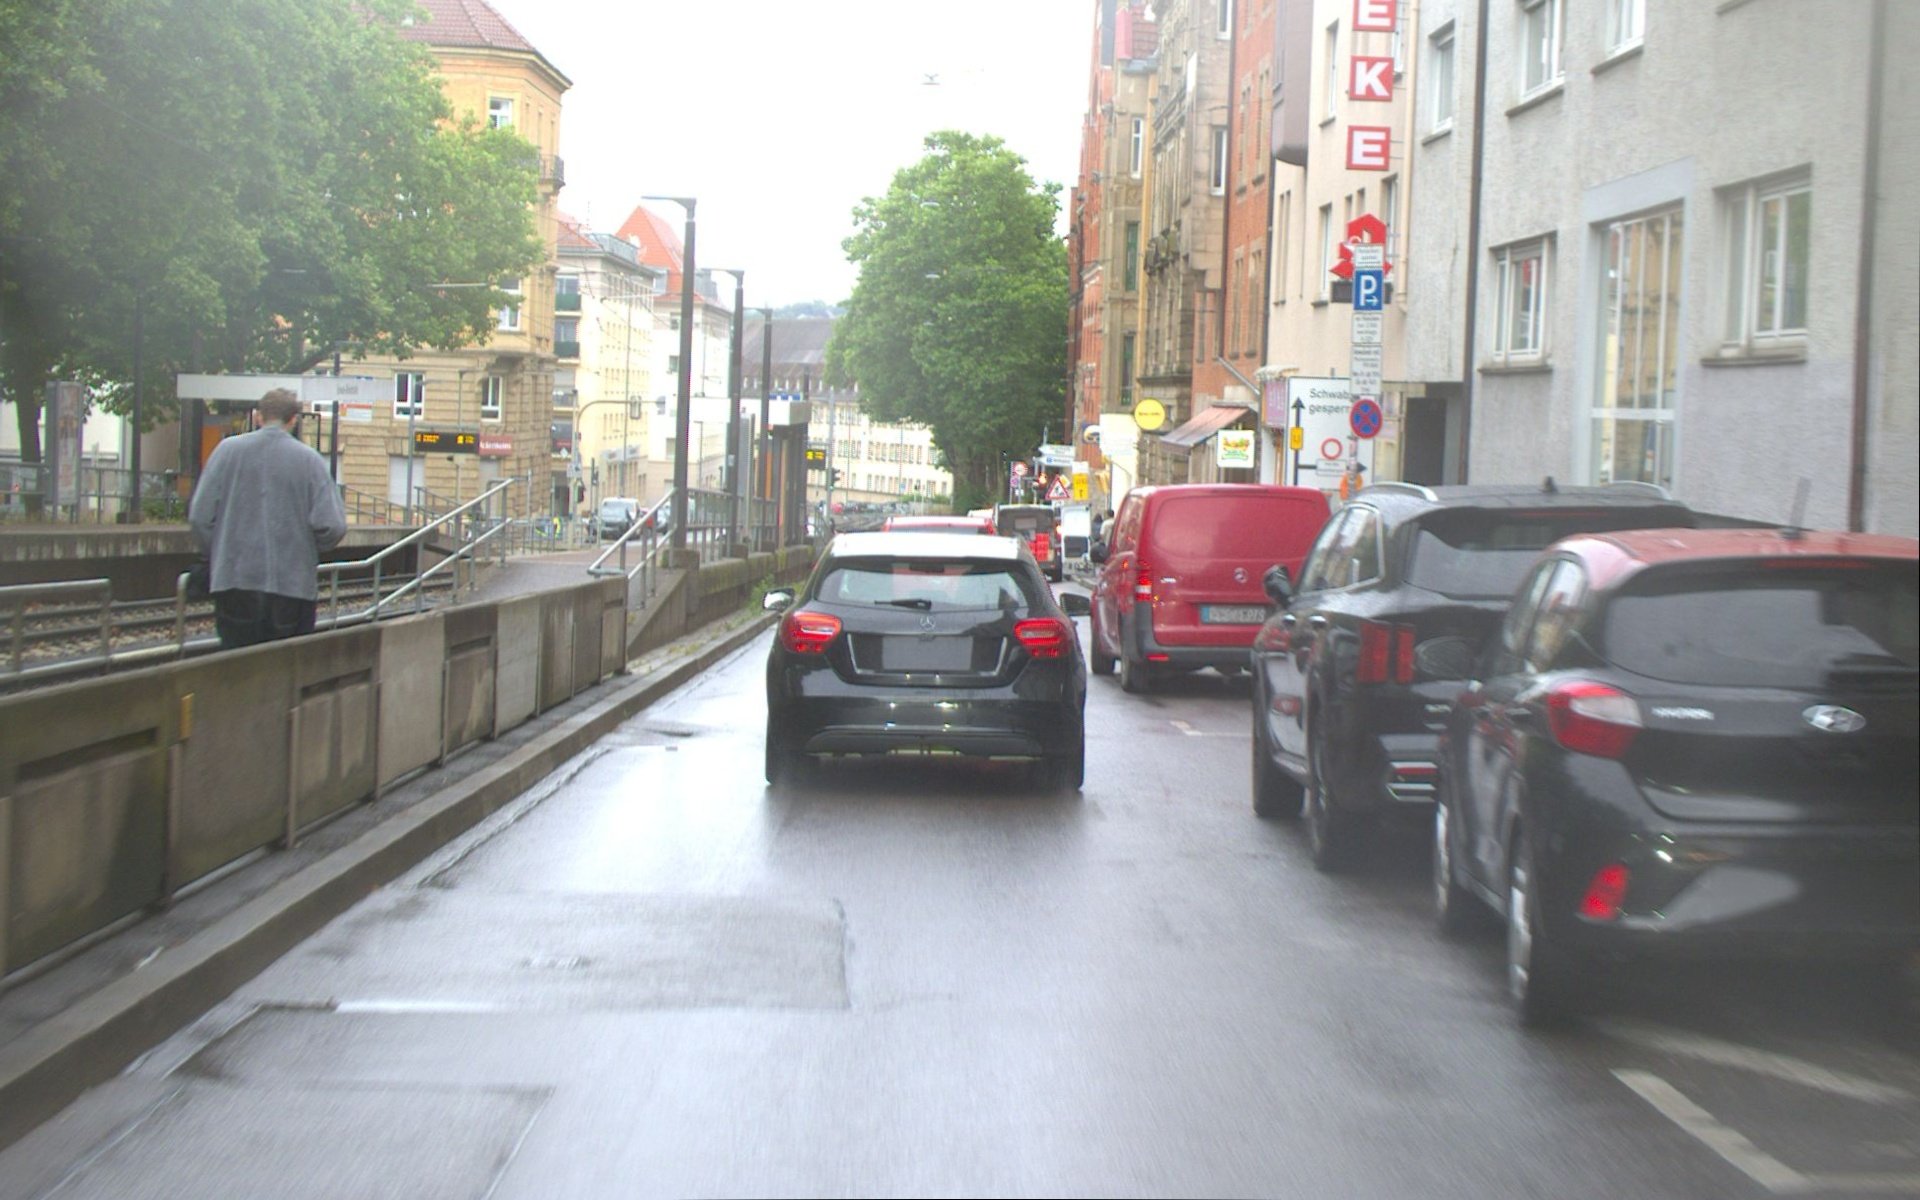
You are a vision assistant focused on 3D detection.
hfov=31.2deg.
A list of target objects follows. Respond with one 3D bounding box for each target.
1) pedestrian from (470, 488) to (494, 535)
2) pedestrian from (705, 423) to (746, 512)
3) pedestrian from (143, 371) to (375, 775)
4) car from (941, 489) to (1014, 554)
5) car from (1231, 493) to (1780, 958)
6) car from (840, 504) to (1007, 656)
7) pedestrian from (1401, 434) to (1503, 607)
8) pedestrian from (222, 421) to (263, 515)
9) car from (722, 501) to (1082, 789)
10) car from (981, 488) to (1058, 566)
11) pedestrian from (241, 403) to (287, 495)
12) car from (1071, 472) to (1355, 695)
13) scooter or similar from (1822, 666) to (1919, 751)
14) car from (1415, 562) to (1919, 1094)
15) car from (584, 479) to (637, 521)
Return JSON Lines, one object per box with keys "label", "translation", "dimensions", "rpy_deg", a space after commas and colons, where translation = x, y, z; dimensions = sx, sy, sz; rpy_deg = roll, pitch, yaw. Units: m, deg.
{"label": "pedestrian", "translation": [-18.058, -3.335, 129.906], "dimensions": [0.761, 1.744, 0.645], "rpy_deg": [2, 3, 1]}
{"label": "pedestrian", "translation": [-4.264, -2.409, 62.503], "dimensions": [0.496, 1.599, 0.636], "rpy_deg": [2, 2, 16]}
{"label": "pedestrian", "translation": [-3.241, -0.140, 15.954], "dimensions": [0.859, 1.793, 0.787], "rpy_deg": [3, 2, -1]}
{"label": "car", "translation": [0.529, -2.459, 106.964], "dimensions": [1.933, 1.825, 4.282], "rpy_deg": [2, 2, -3]}
{"label": "car", "translation": [2.329, 0.426, 15.826], "dimensions": [1.765, 1.702, 4.500], "rpy_deg": [2, 3, 0]}
{"label": "car", "translation": [-0.445, -0.256, 37.641], "dimensions": [1.679, 1.484, 3.614], "rpy_deg": [1, 2, -2]}
{"label": "pedestrian", "translation": [5.166, -0.844, 36.130], "dimensions": [0.851, 1.751, 0.837], "rpy_deg": [3, 2, 0]}
{"label": "pedestrian", "translation": [-13.353, -2.453, 63.960], "dimensions": [0.562, 1.709, 0.706], "rpy_deg": [3, 3, -2]}
{"label": "car", "translation": [-0.305, 0.185, 20.340], "dimensions": [1.895, 1.385, 4.001], "rpy_deg": [1, 3, 0]}
{"label": "car", "translation": [1.558, -1.968, 91.513], "dimensions": [1.921, 1.929, 4.686], "rpy_deg": [2, 2, 0]}
{"label": "pedestrian", "translation": [-12.696, -2.753, 62.717], "dimensions": [0.686, 1.635, 0.564], "rpy_deg": [3, 3, -2]}
{"label": "car", "translation": [2.230, -0.234, 31.755], "dimensions": [1.975, 1.832, 5.246], "rpy_deg": [2, 2, -2]}
{"label": "scooter or similar", "translation": [6.079, 0.709, 22.374], "dimensions": [0.859, 0.504, 0.257], "rpy_deg": [3, 2, 30]}
{"label": "car", "translation": [2.473, 0.613, 11.286], "dimensions": [1.661, 1.447, 3.609], "rpy_deg": [1, 1, 3]}
{"label": "car", "translation": [-15.937, -4.580, 156.962], "dimensions": [1.993, 1.853, 4.001], "rpy_deg": [1, 2, 0]}
